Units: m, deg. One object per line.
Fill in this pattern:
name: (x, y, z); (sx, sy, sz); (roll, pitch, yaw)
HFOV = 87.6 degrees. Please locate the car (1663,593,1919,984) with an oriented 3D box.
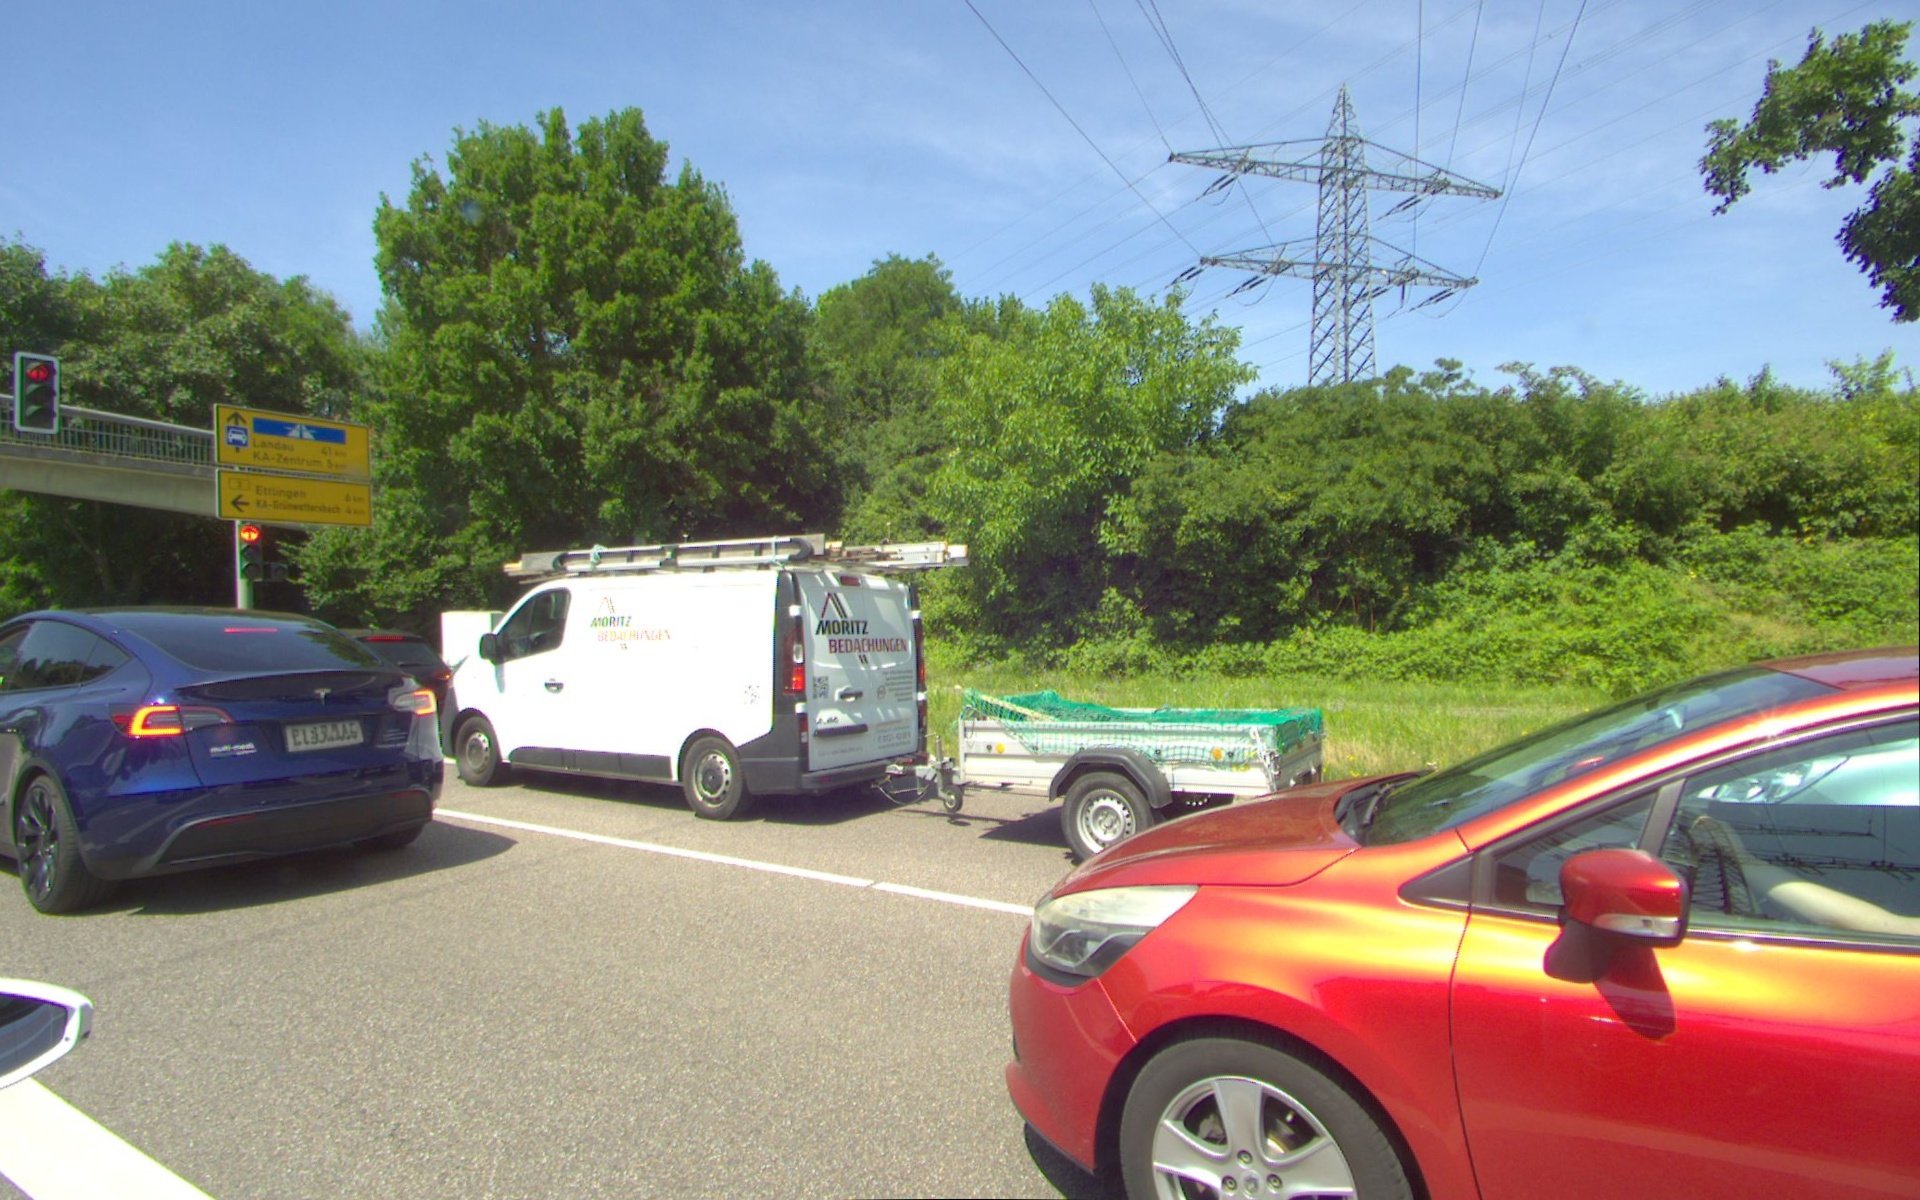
car: (5.518, 0.775, 4.196); (4.105, 1.616, 1.761); (-1, 0, 32)

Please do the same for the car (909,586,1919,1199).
car: (2.023, 0.740, 2.148); (4.006, 1.480, 1.740); (-1, -1, 32)

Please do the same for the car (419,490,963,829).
car: (-2.599, 0.474, 9.179); (5.002, 2.379, 1.929); (-1, -1, 32)

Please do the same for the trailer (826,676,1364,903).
trailer: (0.887, 1.120, 6.880); (3.276, 1.019, 1.703); (-1, -1, 32)

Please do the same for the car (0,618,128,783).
car: (-10.349, 0.934, 10.105); (3.882, 1.497, 1.897); (-1, -2, 32)

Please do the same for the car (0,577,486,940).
car: (-5.328, 0.777, 6.604); (4.455, 1.665, 1.897); (-1, -1, 32)

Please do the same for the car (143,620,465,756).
car: (-8.585, 1.022, 13.024); (4.318, 1.497, 1.897); (-1, -2, 32)
